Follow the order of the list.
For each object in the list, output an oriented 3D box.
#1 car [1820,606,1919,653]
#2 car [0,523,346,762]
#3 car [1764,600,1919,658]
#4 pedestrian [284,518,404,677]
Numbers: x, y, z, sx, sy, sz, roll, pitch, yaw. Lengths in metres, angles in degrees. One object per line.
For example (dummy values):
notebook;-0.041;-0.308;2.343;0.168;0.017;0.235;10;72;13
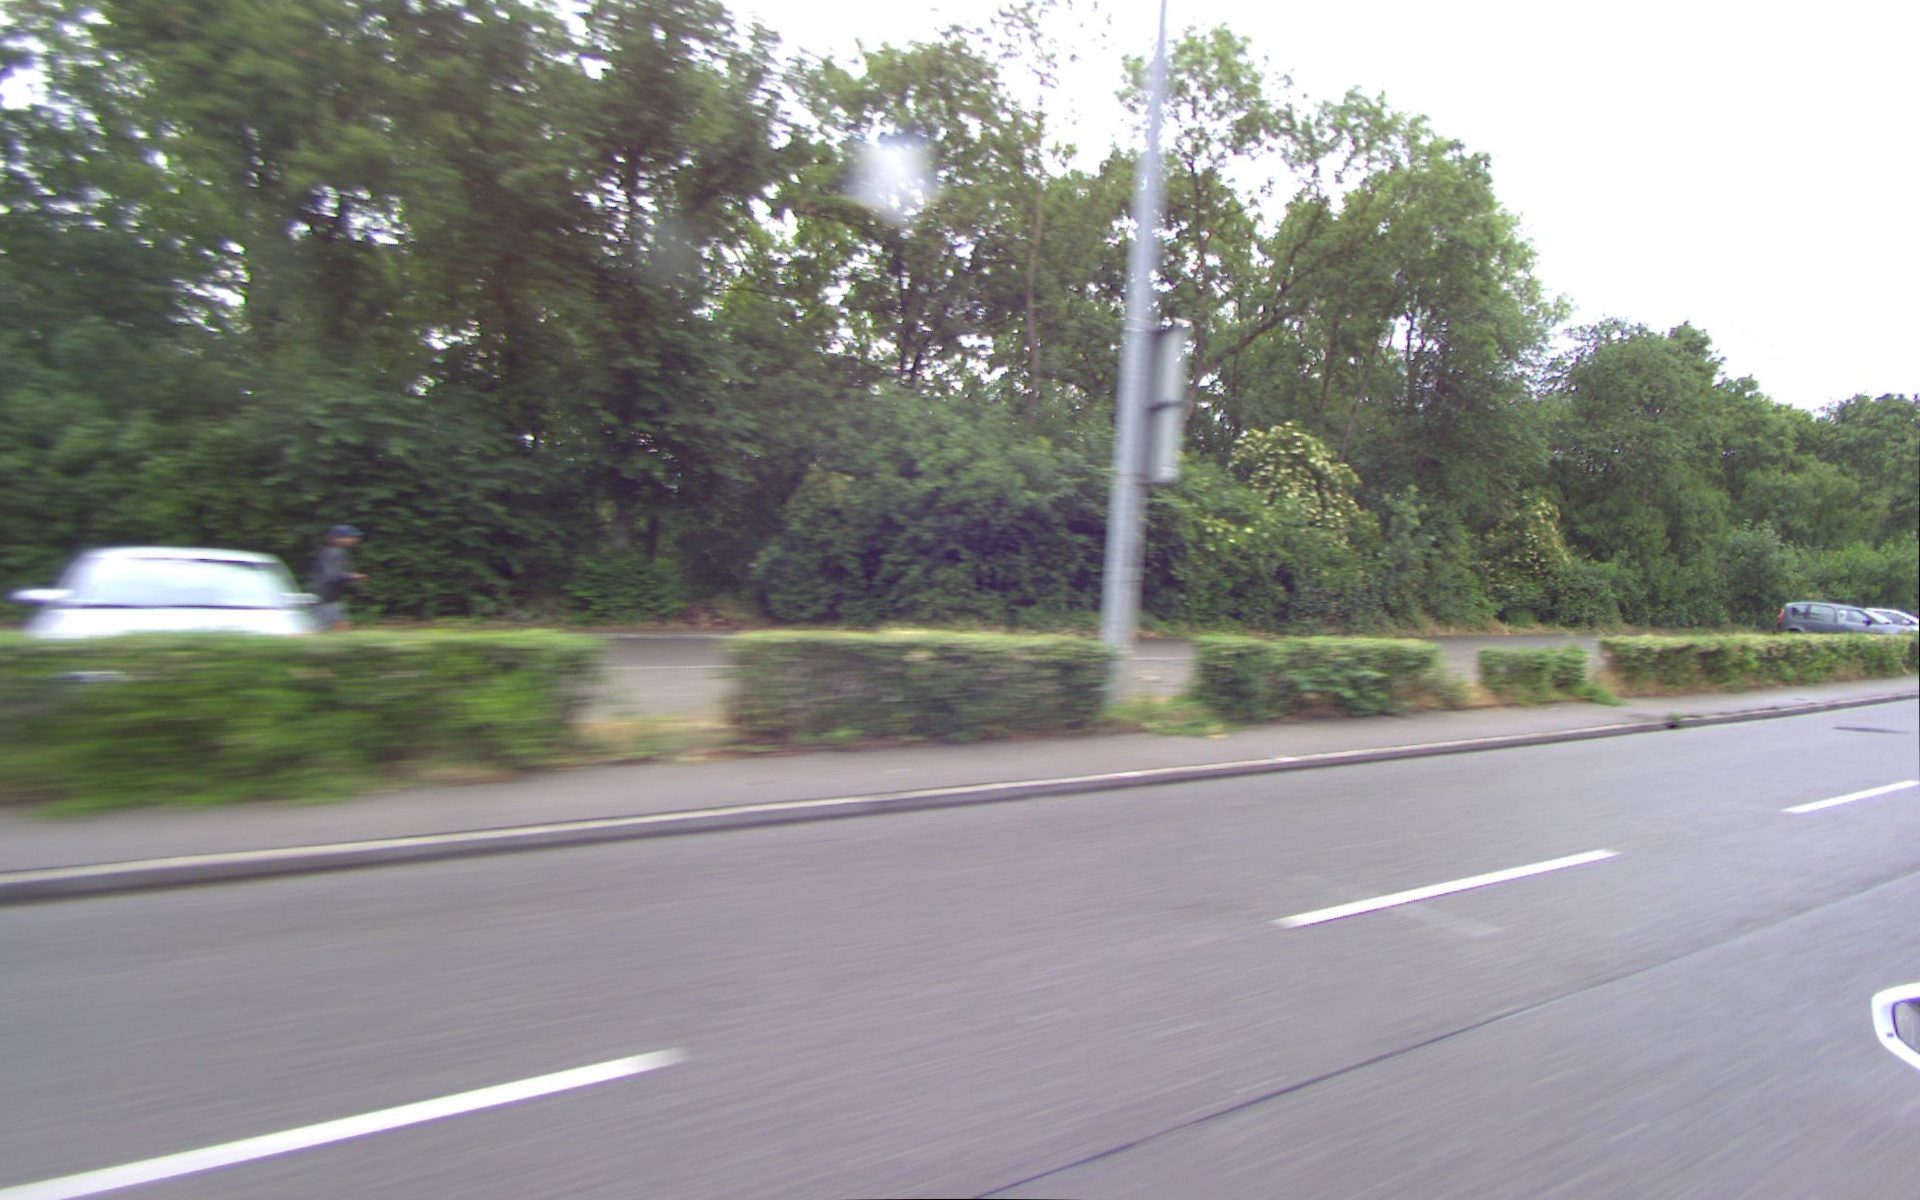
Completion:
car;35.407;1.117;38.369;1.836;1.612;3.614;1;2;-39
car;-6.718;0.209;8.763;1.981;1.526;4.543;1;1;-36
car;30.972;0.962;34.943;1.979;1.731;4.265;1;1;-33
pedestrian;-7.413;-0.026;12.147;1.121;1.821;0.814;1;1;-27
